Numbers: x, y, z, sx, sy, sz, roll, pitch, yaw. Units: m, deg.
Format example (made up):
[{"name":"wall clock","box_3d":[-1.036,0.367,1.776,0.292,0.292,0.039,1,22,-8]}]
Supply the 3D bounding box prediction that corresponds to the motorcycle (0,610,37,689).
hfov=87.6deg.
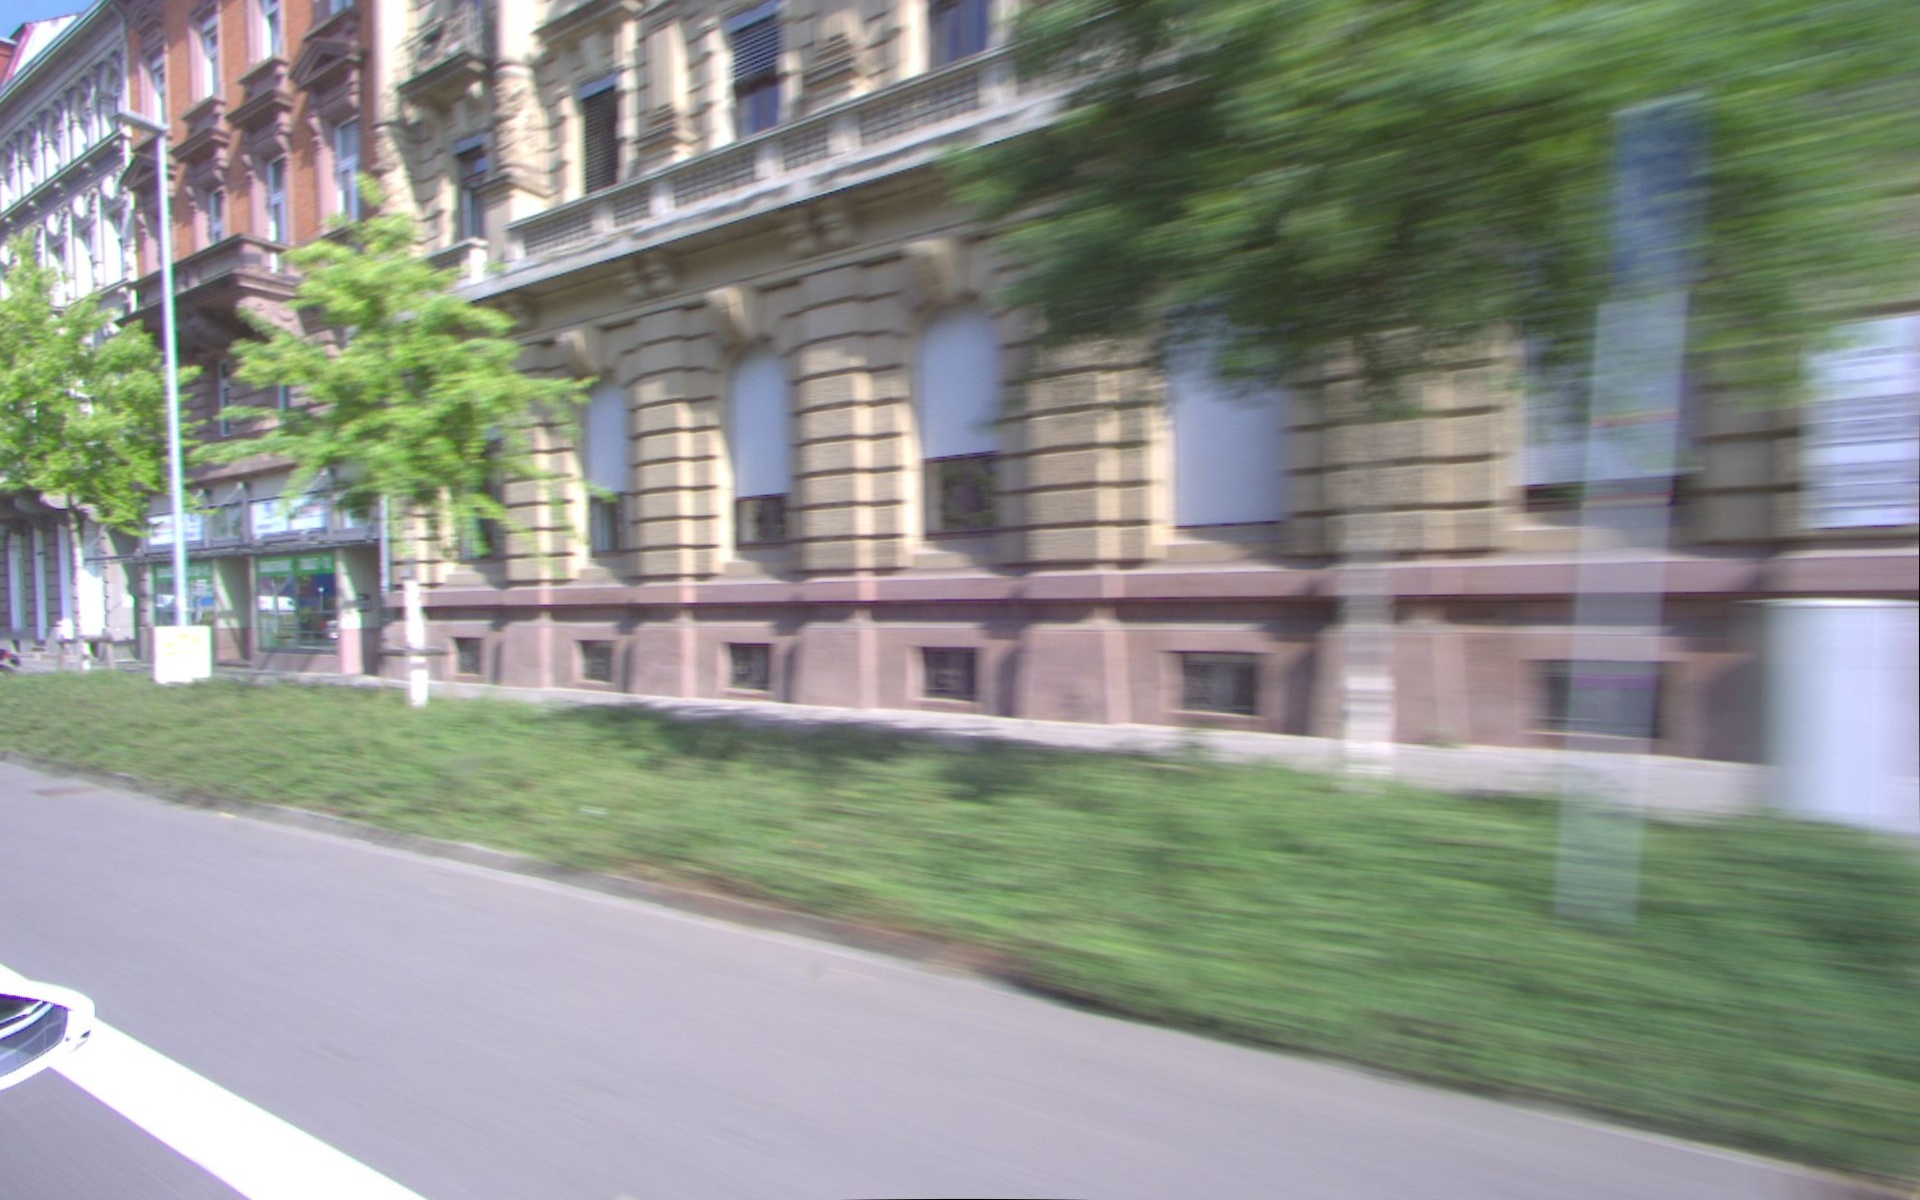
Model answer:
[{"name":"motorcycle","box_3d":[-16.593,0.871,16.607,0.691,1.305,2.040,-1,2,-2]}]
